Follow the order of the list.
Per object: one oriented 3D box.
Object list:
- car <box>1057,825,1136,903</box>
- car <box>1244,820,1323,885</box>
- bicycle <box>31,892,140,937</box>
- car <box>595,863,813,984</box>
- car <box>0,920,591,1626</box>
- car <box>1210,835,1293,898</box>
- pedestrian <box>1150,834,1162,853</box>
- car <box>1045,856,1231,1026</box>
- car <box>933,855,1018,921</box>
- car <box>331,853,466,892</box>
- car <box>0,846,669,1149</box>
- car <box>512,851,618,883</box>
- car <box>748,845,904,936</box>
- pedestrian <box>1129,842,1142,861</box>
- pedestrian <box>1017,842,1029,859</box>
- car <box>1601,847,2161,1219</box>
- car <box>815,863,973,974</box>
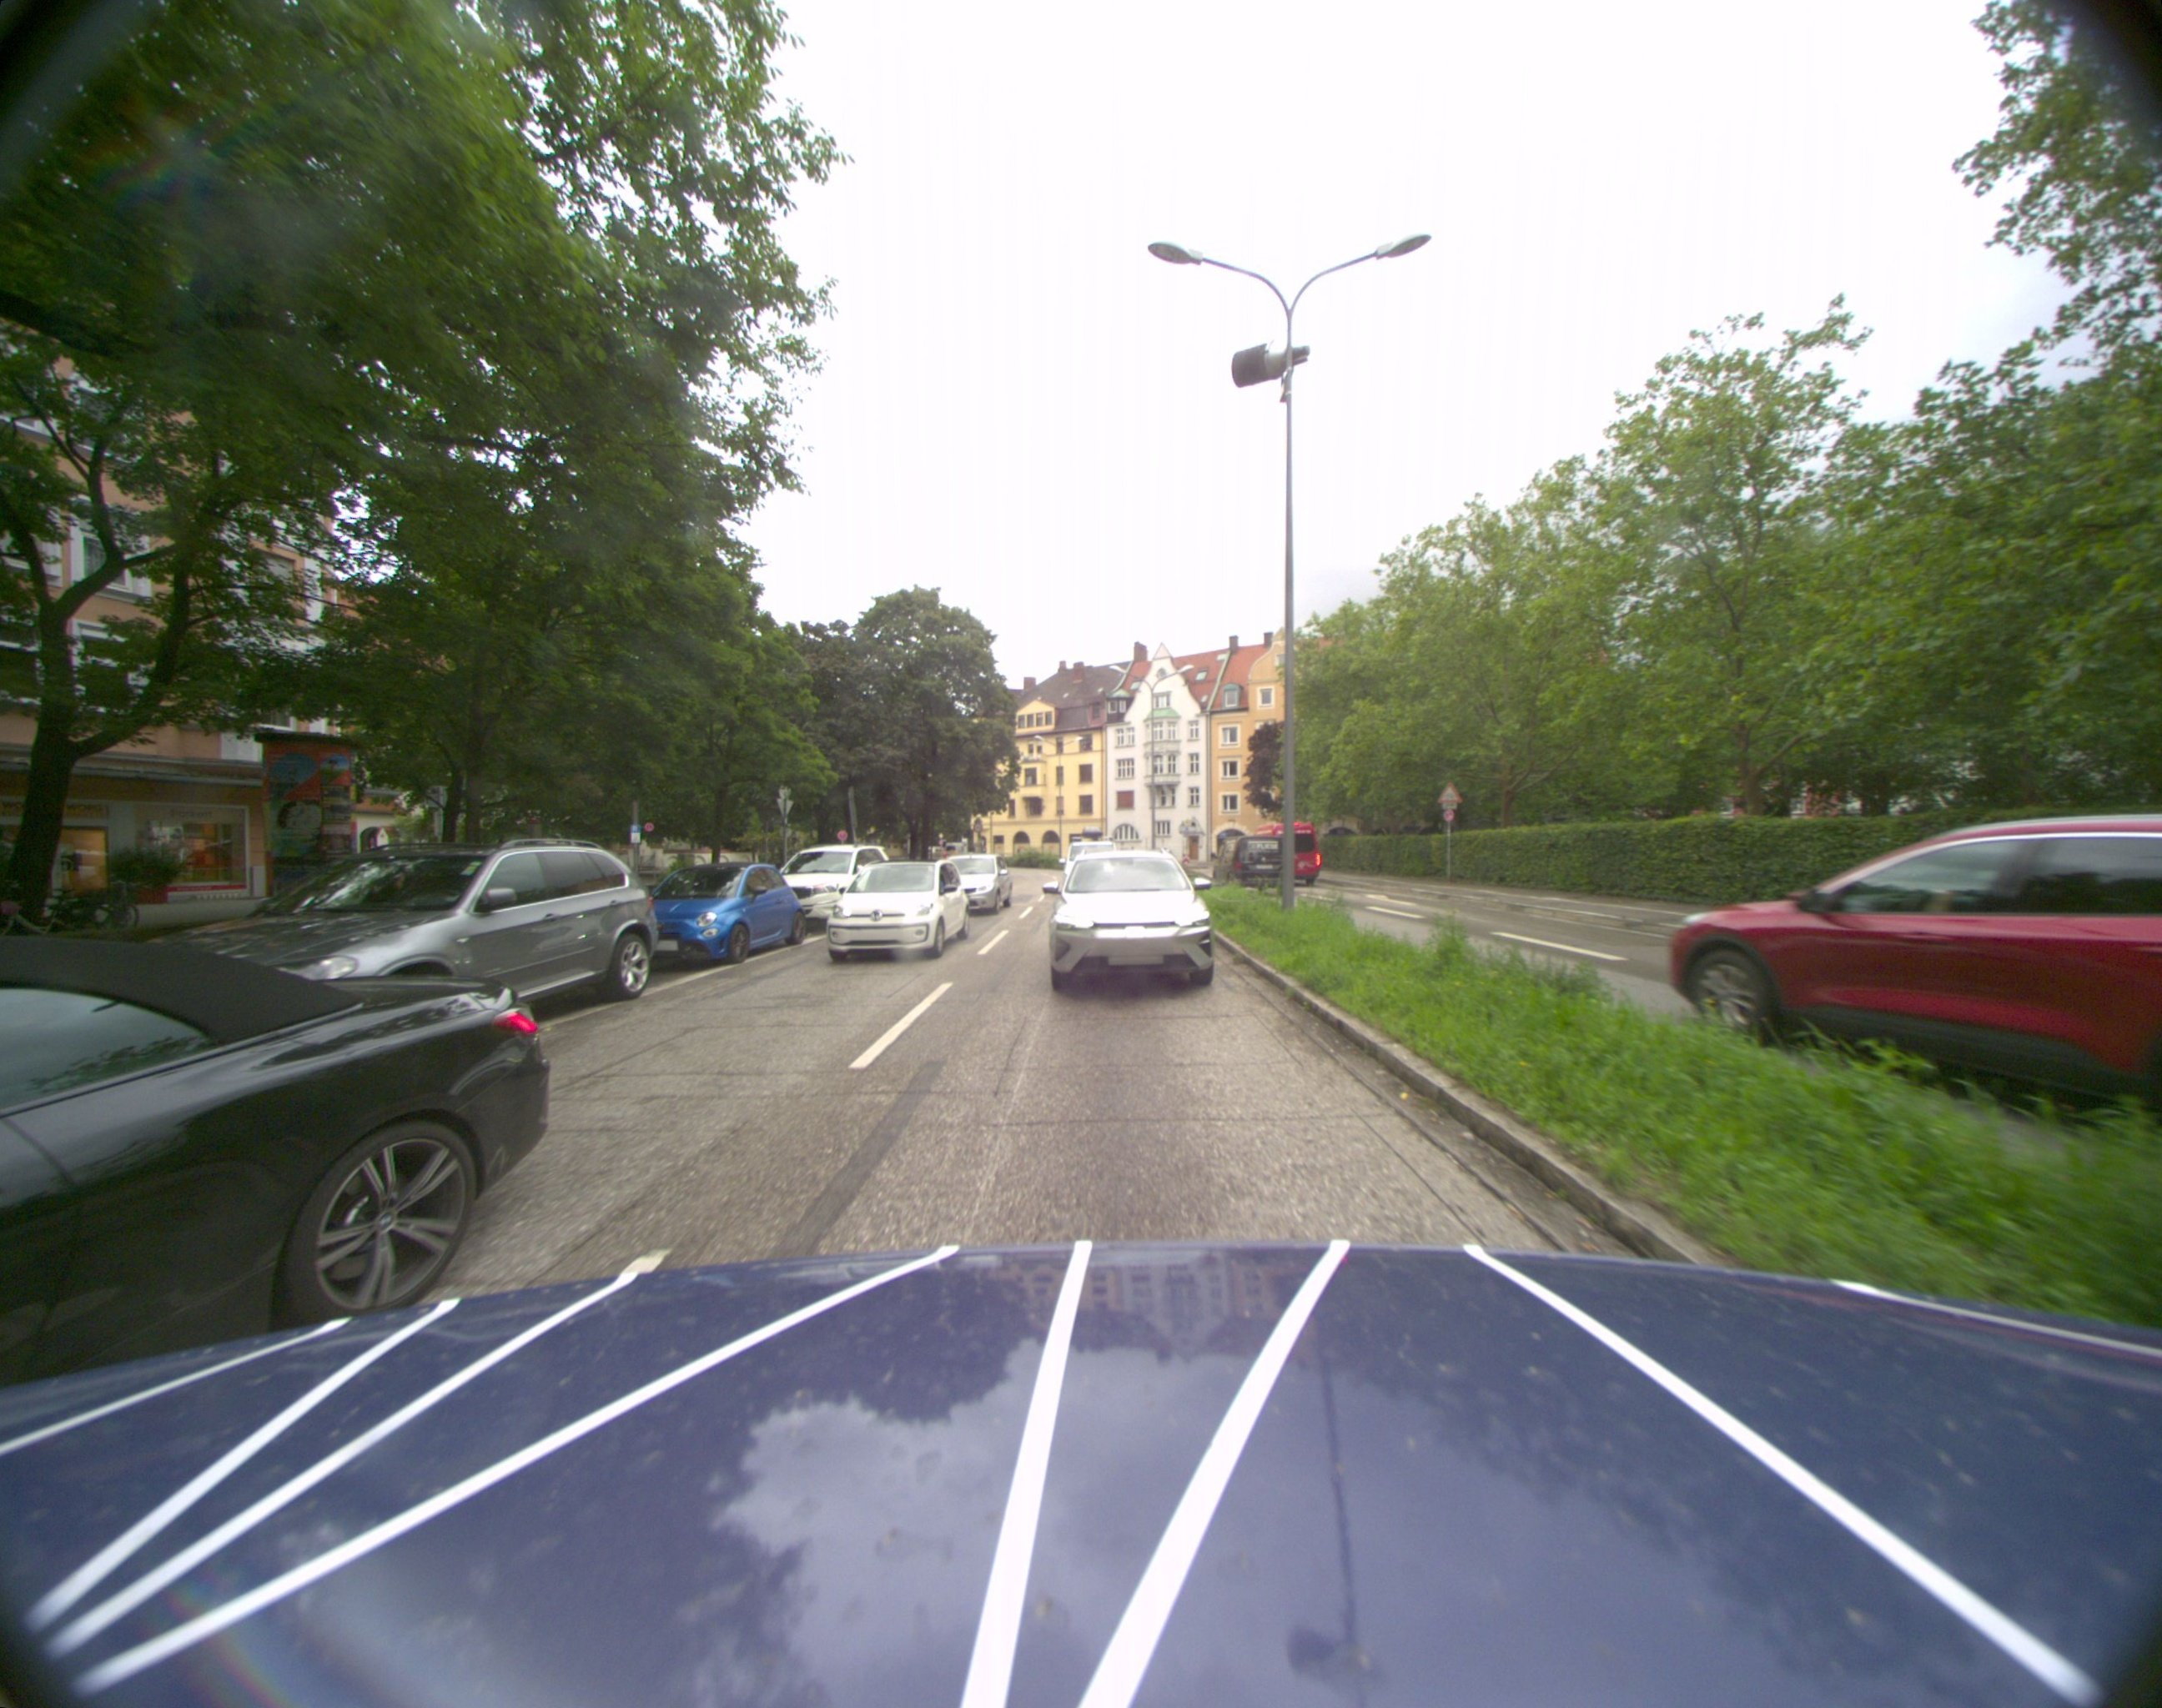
[{"bbox_3d":[0.650,0.276,25.387,1.911,2.337,4.948,0,1,10],"label":"car"},{"bbox_3d":[8.717,-0.024,33.266,2.108,2.574,6.083,0,0,3],"label":"car"},{"bbox_3d":[-18.797,1.132,14.372,1.181,0.719,0.318,-3,2,-45],"label":"bicycle"},{"bbox_3d":[-5.680,0.956,11.974,1.523,1.540,3.662,0,1,1],"label":"car"},{"bbox_3d":[-3.278,1.019,1.164,1.727,1.381,4.799,0,1,3],"label":"car"},{"bbox_3d":[5.754,0.376,26.229,1.862,1.979,4.704,0,1,1],"label":"car"},{"bbox_3d":[8.111,-1.176,82.167,1.005,2.002,0.880,-1,2,32],"label":"pedestrian"},{"bbox_3d":[0.539,0.807,8.948,1.710,1.521,3.886,0,1,0],"label":"car"},{"bbox_3d":[-2.647,0.804,19.820,1.648,1.521,3.886,0,1,0],"label":"car"},{"bbox_3d":[-28.941,0.791,32.265,4.436,1.458,1.862,-2,1,10],"label":"car"},{"bbox_3d":[-5.853,0.842,6.860,1.937,1.809,4.552,0,1,-3],"label":"car"},{"bbox_3d":[-26.620,0.682,39.232,4.436,1.458,1.862,-2,1,10],"label":"car"},{"bbox_3d":[-5.760,0.724,17.918,1.848,1.845,5.024,0,1,1],"label":"car"},{"bbox_3d":[5.963,-0.269,82.931,1.005,2.002,0.880,-1,2,32],"label":"pedestrian"},{"bbox_3d":[-7.059,-0.452,92.204,1.005,2.002,0.880,-1,2,32],"label":"pedestrian"},{"bbox_3d":[5.768,0.799,4.379,2.109,1.628,4.939,0,0,-1],"label":"car"},{"bbox_3d":[-2.852,0.913,12.353,1.648,1.457,3.619,0,1,0],"label":"car"}]
